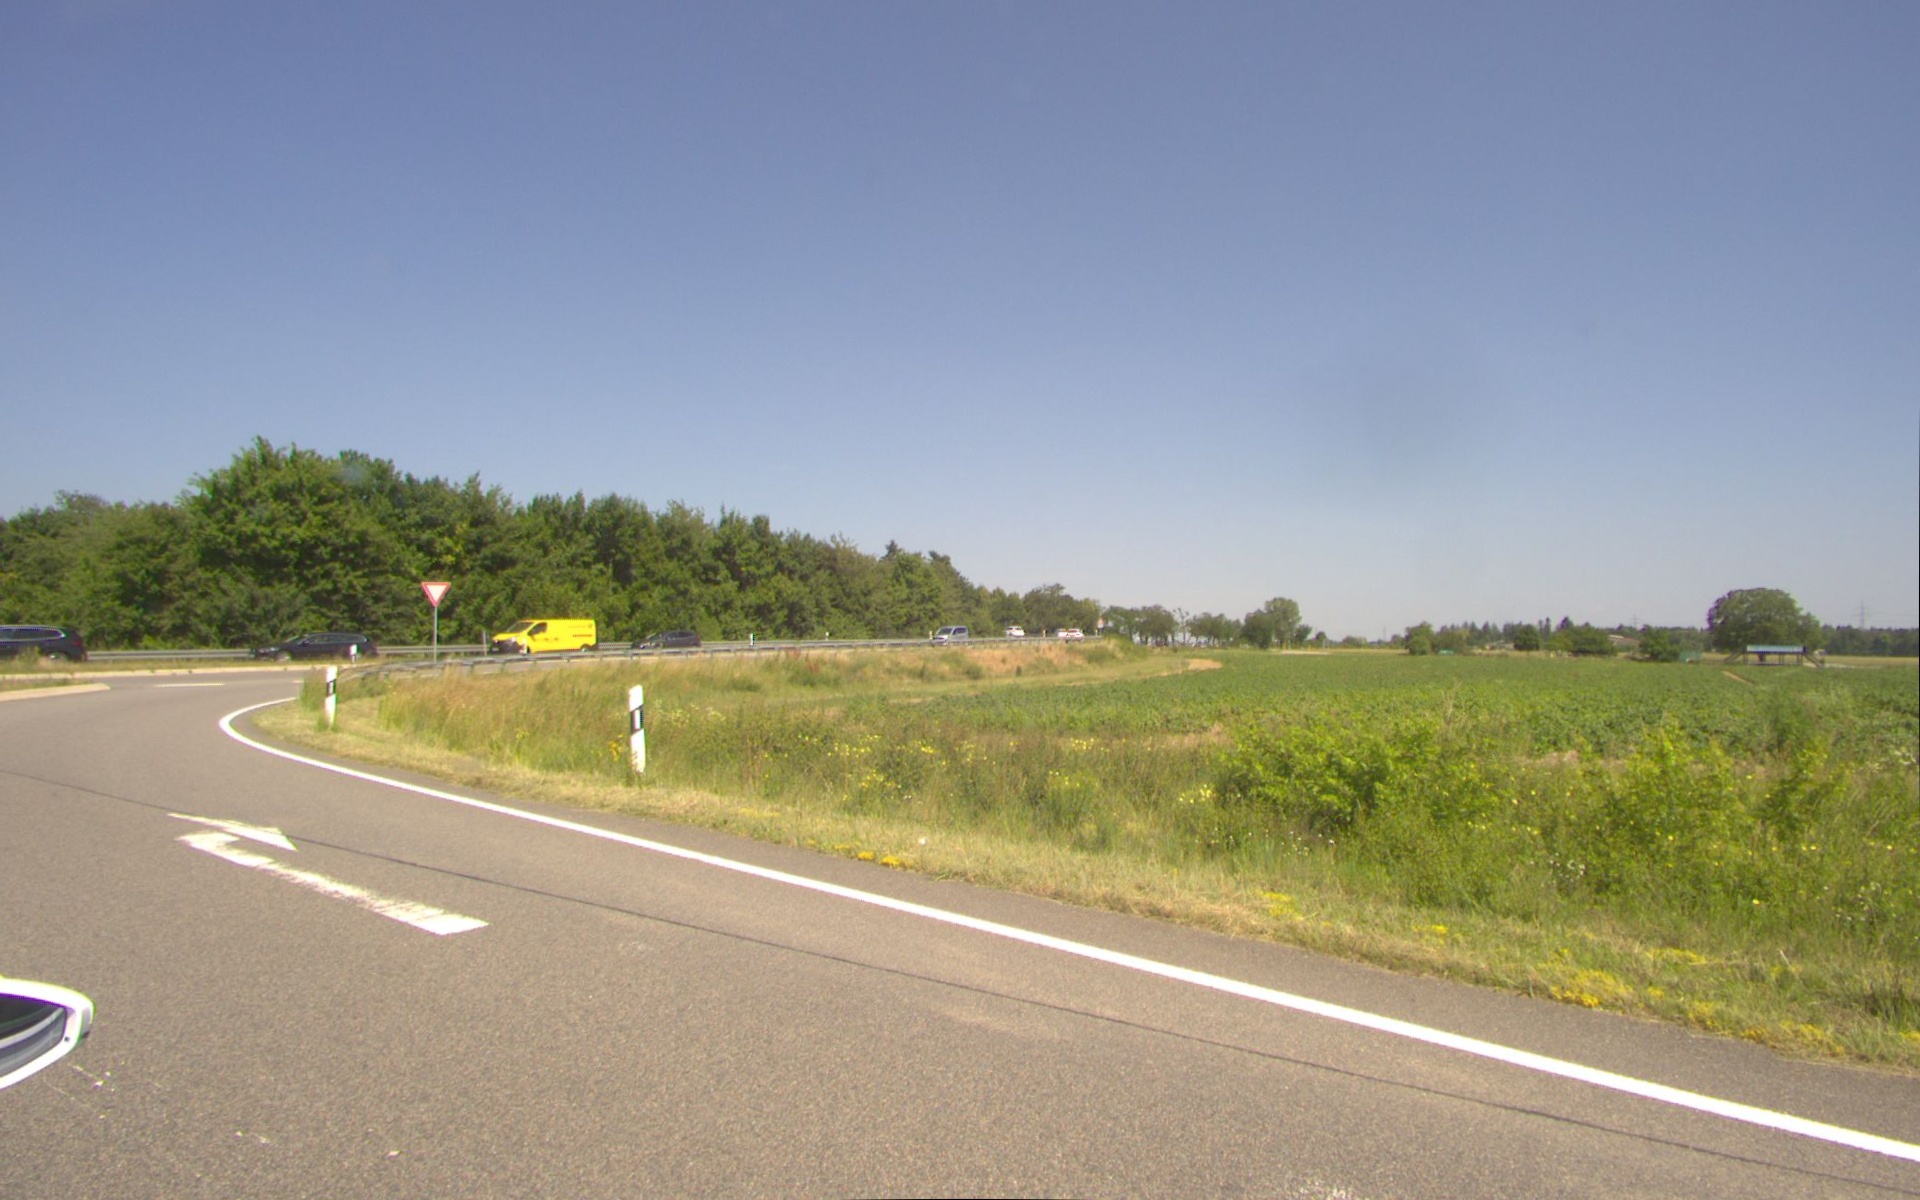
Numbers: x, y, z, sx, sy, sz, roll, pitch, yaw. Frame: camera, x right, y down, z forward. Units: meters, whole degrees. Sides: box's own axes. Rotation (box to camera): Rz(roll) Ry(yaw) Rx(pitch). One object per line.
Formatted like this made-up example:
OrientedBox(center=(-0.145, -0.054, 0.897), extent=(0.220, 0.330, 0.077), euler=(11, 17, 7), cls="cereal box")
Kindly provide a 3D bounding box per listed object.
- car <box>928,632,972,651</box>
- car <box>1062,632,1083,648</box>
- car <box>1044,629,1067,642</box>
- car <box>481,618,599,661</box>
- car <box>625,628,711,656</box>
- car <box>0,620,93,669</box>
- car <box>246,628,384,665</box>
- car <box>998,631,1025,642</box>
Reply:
OrientedBox(center=(-0.811, 3.495, 84.513), extent=(1.824, 1.533, 4.682), euler=(-1, -2, 26), cls="car")
OrientedBox(center=(12.111, 4.304, 107.691), extent=(1.707, 1.587, 4.480), euler=(-1, 0, 12), cls="car")
OrientedBox(center=(11.953, 4.430, 125.093), extent=(1.708, 1.587, 3.690), euler=(0, -2, -15), cls="car")
OrientedBox(center=(-20.947, 1.964, 50.225), extent=(1.972, 2.039, 5.312), euler=(-1, -2, 33), cls="car")
OrientedBox(center=(-16.616, 2.356, 57.159), extent=(1.828, 1.533, 4.671), euler=(-1, -2, 34), cls="car")
OrientedBox(center=(-32.282, 1.505, 33.638), extent=(1.744, 1.618, 4.475), euler=(-1, -2, 34), cls="car")
OrientedBox(center=(-27.545, 1.957, 42.899), extent=(1.831, 1.533, 4.664), euler=(-2, -2, 39), cls="car")
OrientedBox(center=(7.185, 5.108, 139.737), extent=(1.714, 1.587, 4.463), euler=(0, -2, -29), cls="car")
